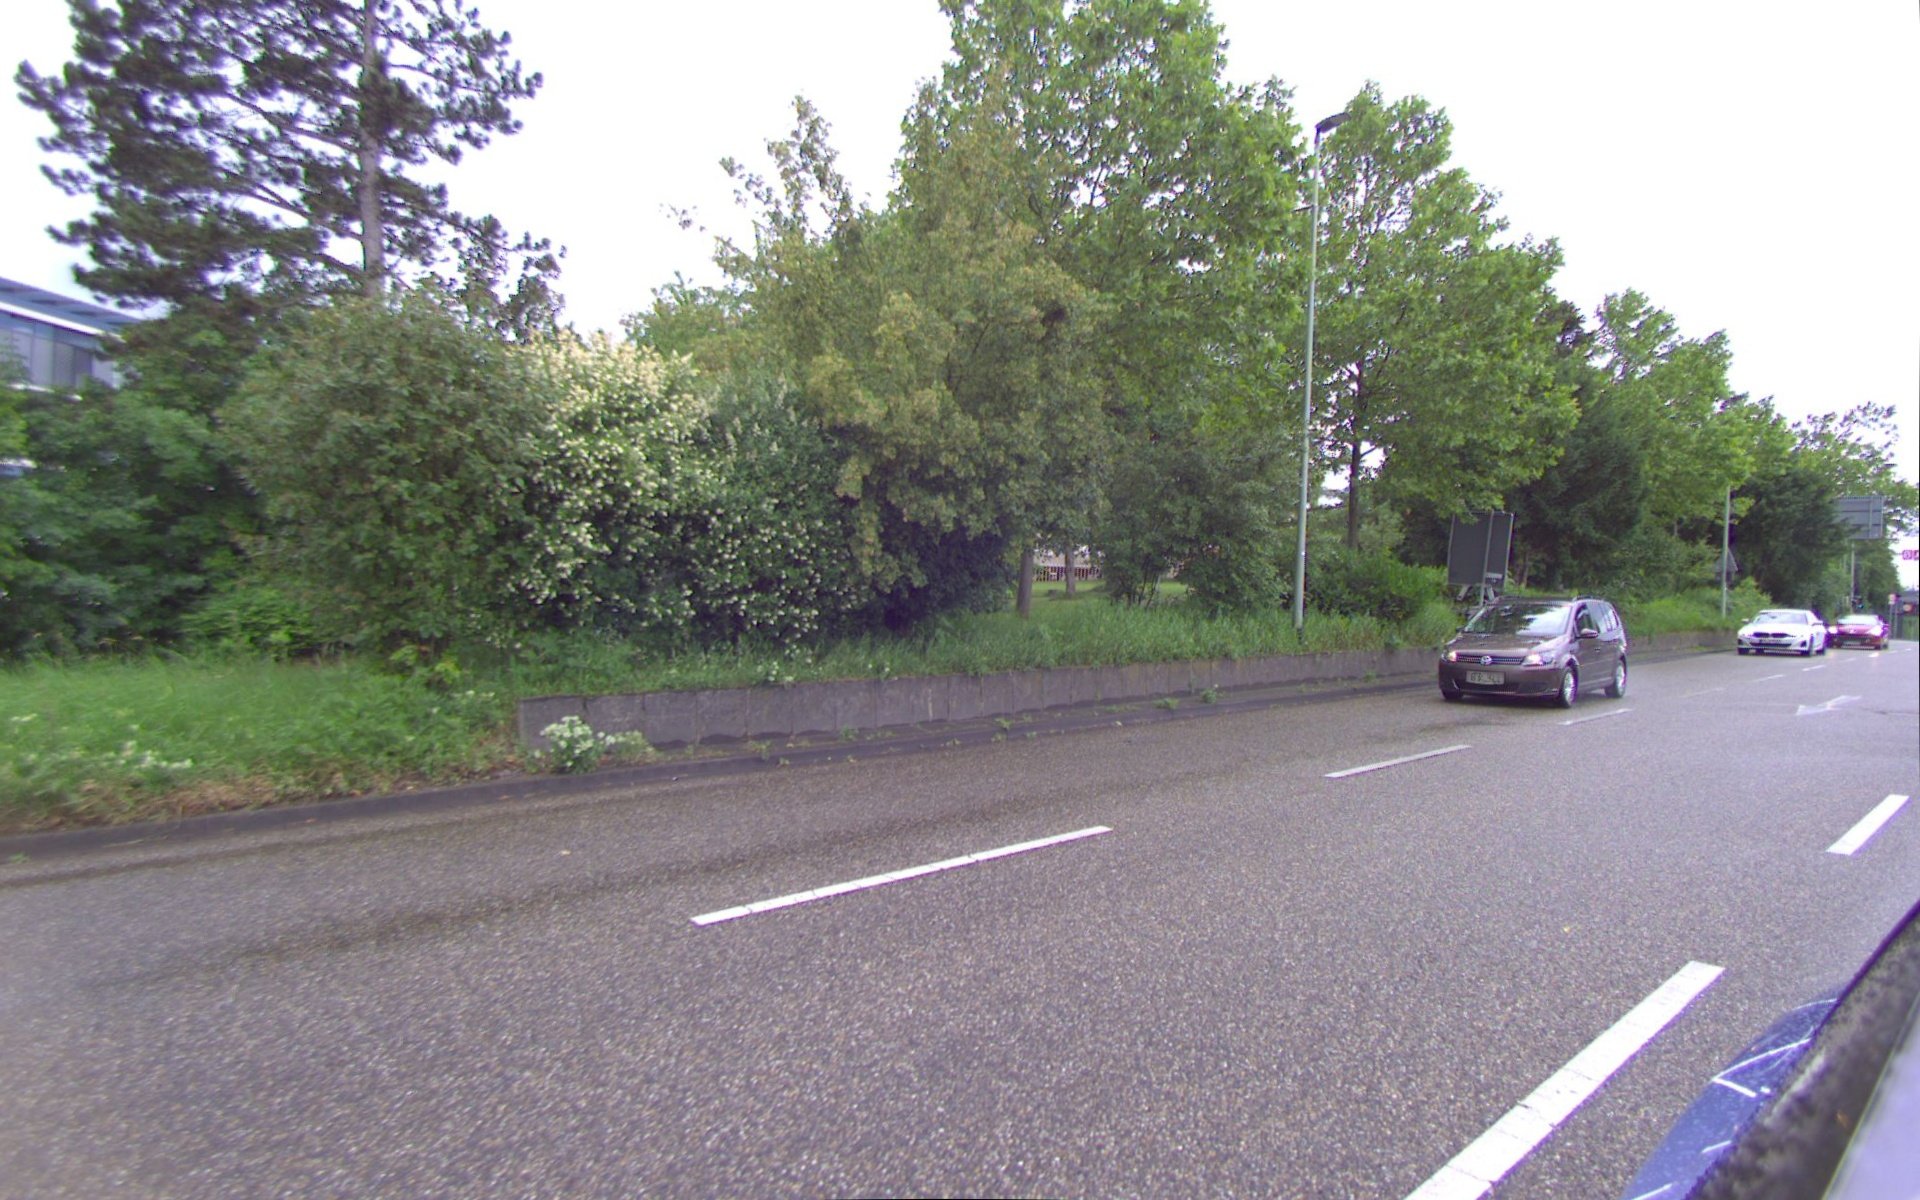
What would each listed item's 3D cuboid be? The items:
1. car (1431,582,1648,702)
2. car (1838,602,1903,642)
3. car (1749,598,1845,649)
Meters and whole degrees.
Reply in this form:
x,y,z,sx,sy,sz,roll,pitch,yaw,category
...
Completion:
x,y,z,sx,sy,sz,roll,pitch,yaw,category
9.104,0.618,15.780,3.910,1.629,1.750,2,-1,-41,car
36.371,0.888,40.397,3.478,1.475,1.632,2,-1,-43,car
26.776,0.766,32.327,4.600,1.475,1.782,2,-1,-43,car
